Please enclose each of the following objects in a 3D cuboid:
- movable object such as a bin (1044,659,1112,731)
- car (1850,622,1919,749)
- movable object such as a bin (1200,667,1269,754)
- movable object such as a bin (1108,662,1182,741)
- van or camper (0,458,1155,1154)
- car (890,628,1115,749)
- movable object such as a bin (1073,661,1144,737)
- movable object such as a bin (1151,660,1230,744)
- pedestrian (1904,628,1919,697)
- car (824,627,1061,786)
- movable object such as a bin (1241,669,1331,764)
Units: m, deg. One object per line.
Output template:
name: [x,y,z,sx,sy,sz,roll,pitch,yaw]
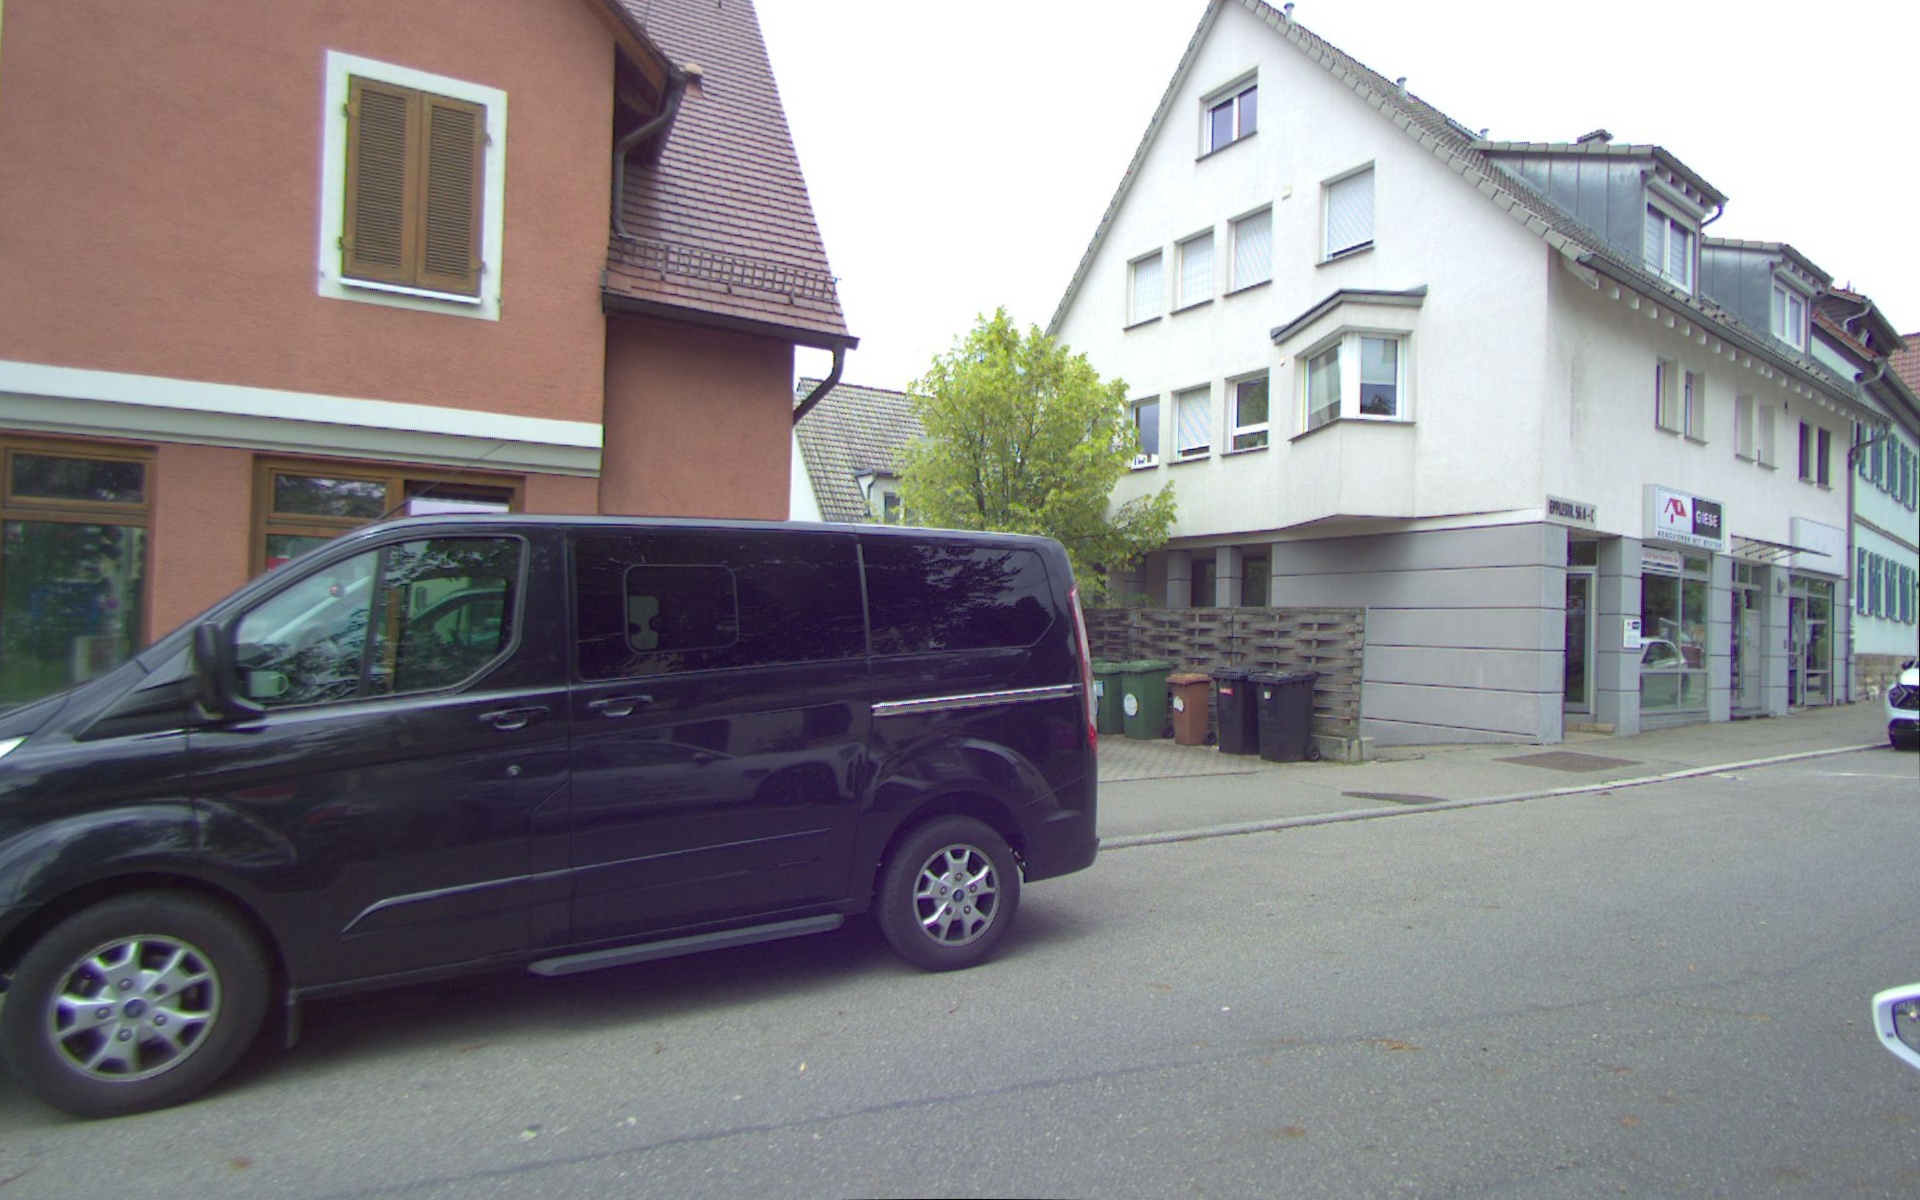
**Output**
movable object such as a bin: [1.808,1.436,15.406,0.786,1.031,0.662,0,-1,-30]
car: [14.818,1.177,14.420,4.809,1.655,1.985,1,0,-35]
movable object such as a bin: [3.393,1.352,12.429,0.627,0.984,0.531,0,2,-27]
movable object such as a bin: [2.603,1.411,14.154,0.786,1.031,0.662,0,-1,-30]
van or camper: [-1.658,0.634,4.725,4.795,2.032,2.066,0,-2,-28]
car: [0.474,1.187,14.902,1.719,1.494,3.975,1,-1,-25]
movable object such as a bin: [2.177,1.437,14.760,0.786,1.031,0.662,0,-1,-30]
movable object such as a bin: [3.075,1.343,13.419,0.786,1.031,0.662,0,-1,-30]
pedestrian: [21.708,1.397,22.376,0.967,1.520,0.800,2,0,-37]
car: [-0.306,1.074,11.280,1.718,1.494,2.823,1,-1,-24]
movable object such as a bin: [3.894,1.366,12.010,0.786,1.031,0.662,0,-1,-30]
